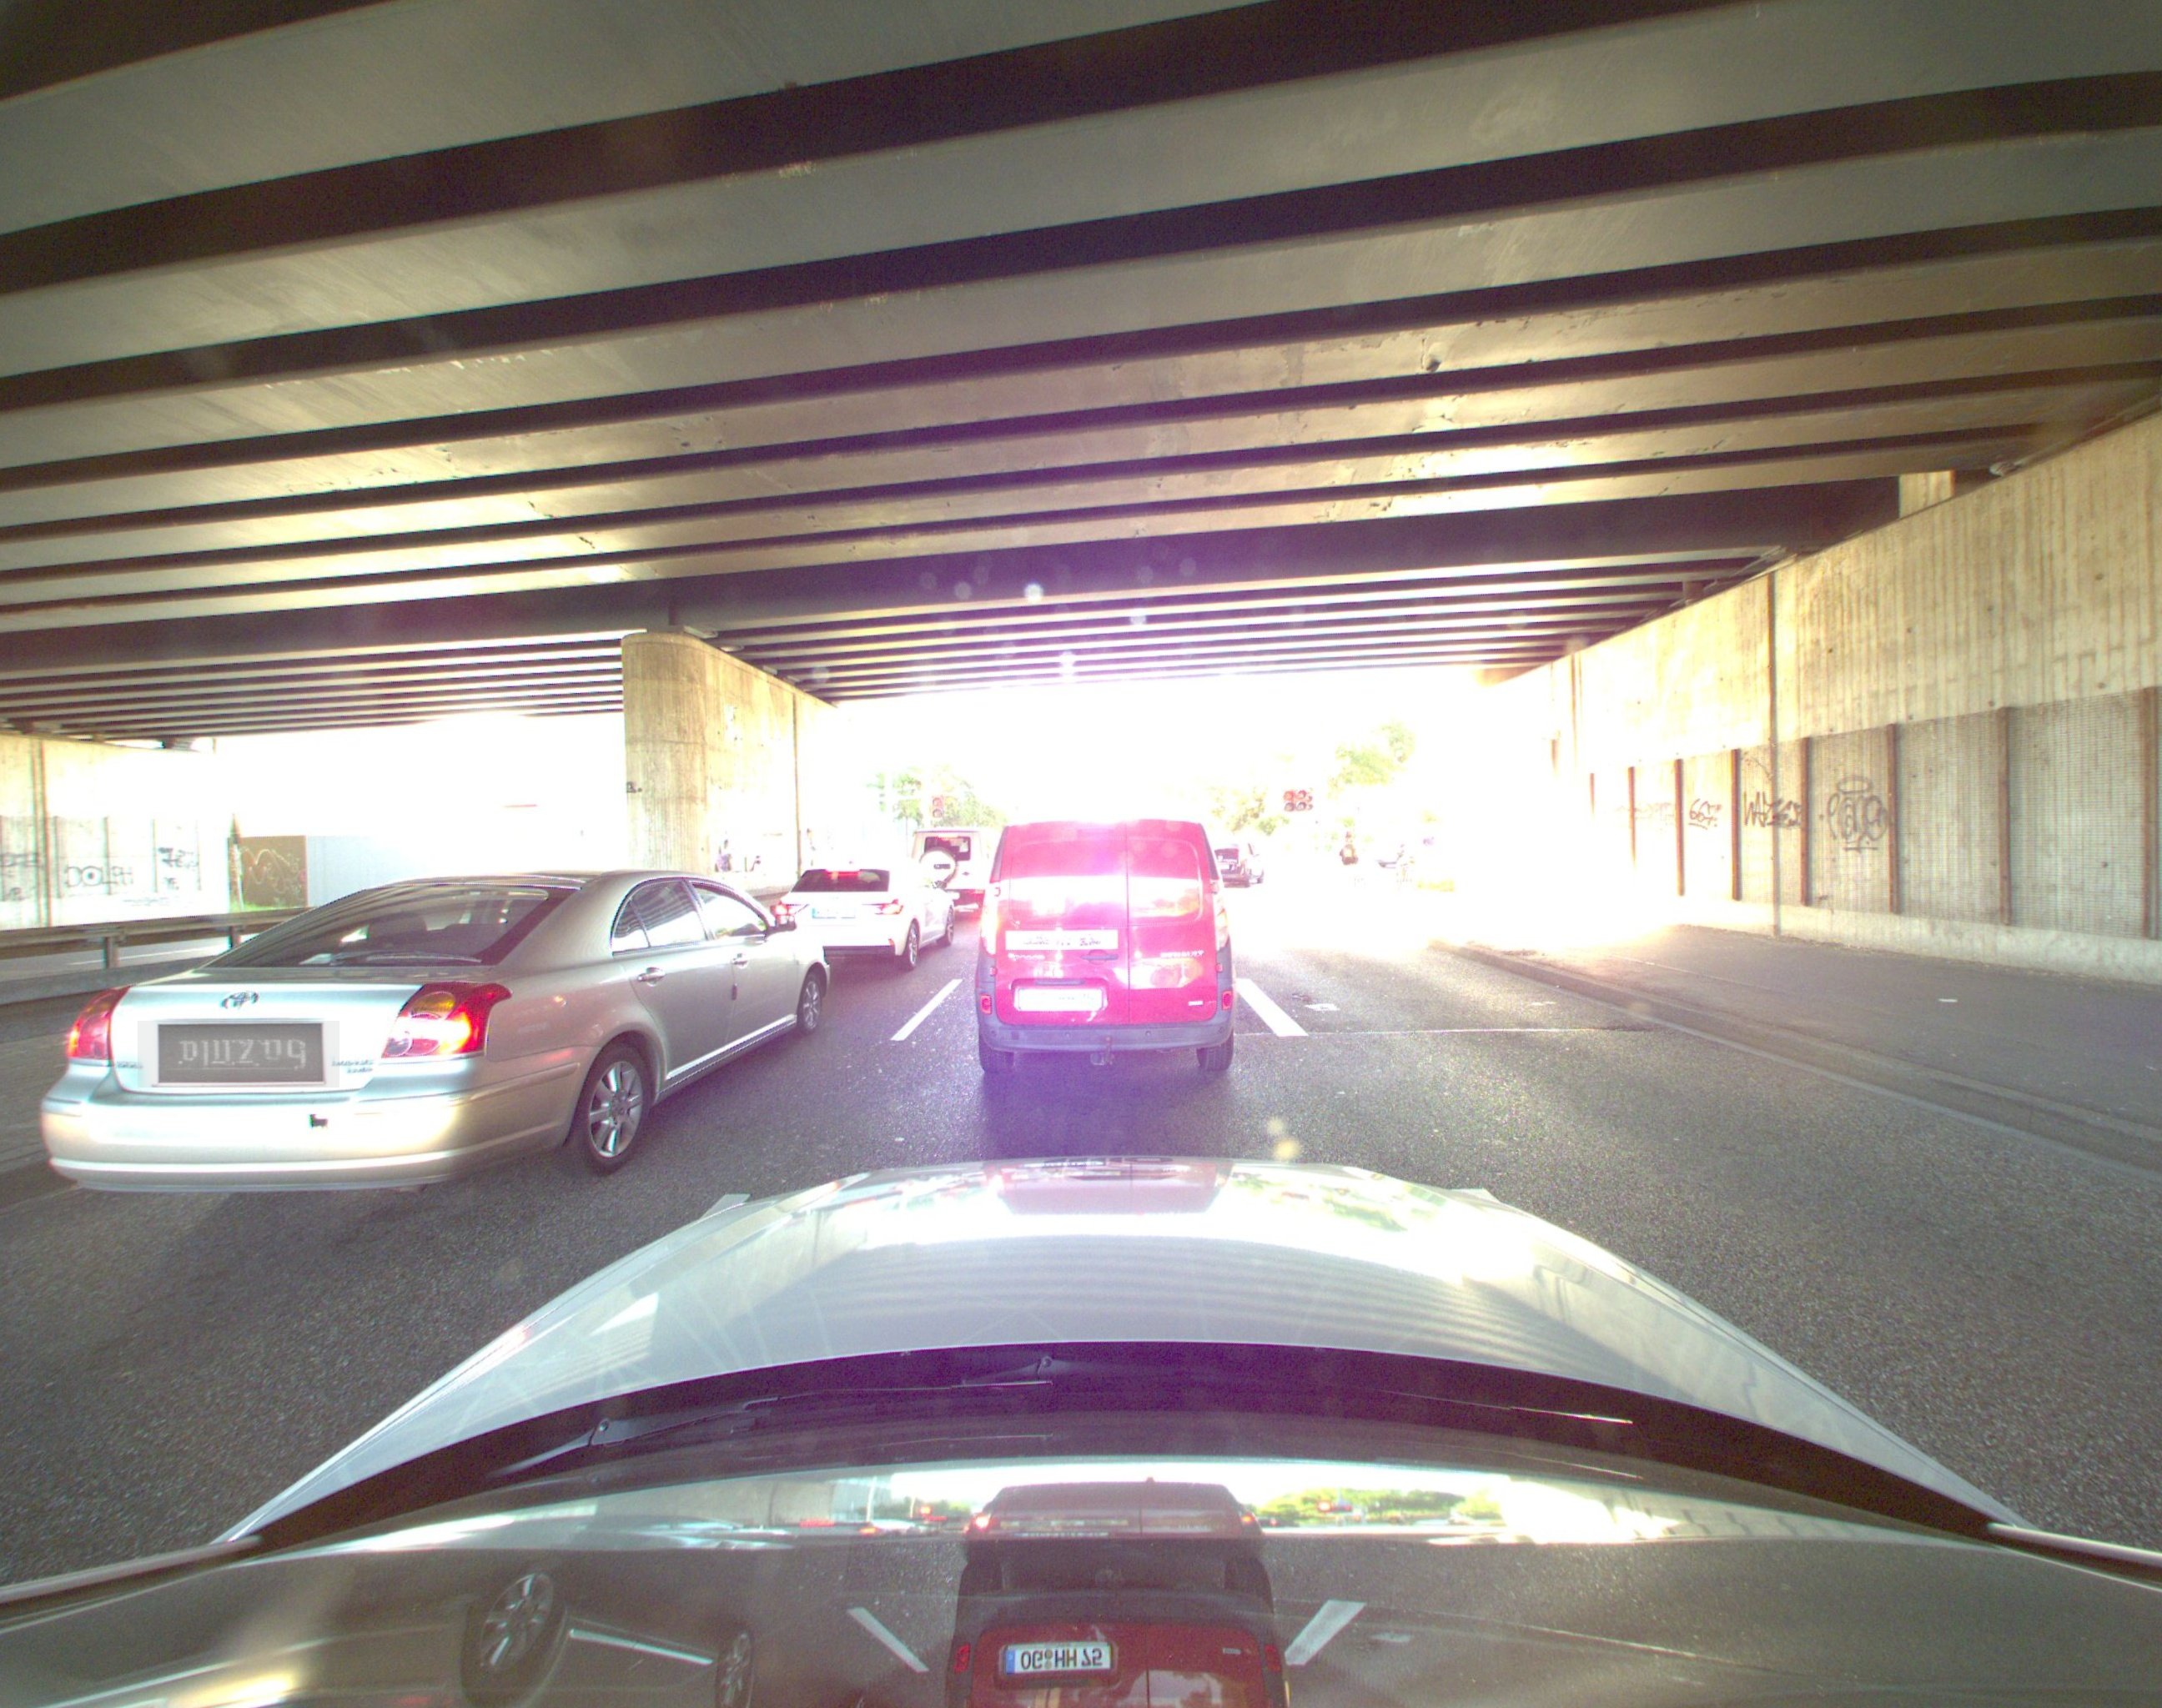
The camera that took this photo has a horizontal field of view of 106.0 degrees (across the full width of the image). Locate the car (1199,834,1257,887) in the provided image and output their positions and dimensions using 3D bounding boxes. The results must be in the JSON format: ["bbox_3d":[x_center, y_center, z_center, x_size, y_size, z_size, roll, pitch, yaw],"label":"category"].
[{"bbox_3d":[5.264,0.220,28.809,1.707,1.706,3.996,-1,0,14],"label":"car"}]

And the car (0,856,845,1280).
[{"bbox_3d":[-3.006,0.775,5.101,1.727,1.480,4.319,-1,0,0],"label":"car"}]

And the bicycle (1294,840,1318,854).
[{"bbox_3d":[17.189,-0.513,62.151,1.734,1.023,0.595,-1,-1,10],"label":"bicycle"}]

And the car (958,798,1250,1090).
[{"bbox_3d":[0.205,0.571,7.046,1.798,1.794,4.001,0,-1,2],"label":"car"}]

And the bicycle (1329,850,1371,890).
[{"bbox_3d":[7.158,0.417,21.729,0.589,1.023,1.751,0,-1,2],"label":"bicycle"}]

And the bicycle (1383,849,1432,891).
[{"bbox_3d":[8.243,0.400,20.622,0.589,1.023,1.751,0,-1,2],"label":"bicycle"}]

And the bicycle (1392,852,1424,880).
[{"bbox_3d":[12.364,0.435,30.843,0.667,1.023,2.061,-1,-1,10],"label":"bicycle"}]

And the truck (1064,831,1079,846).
[{"bbox_3d":[-1.940,-3.206,170.128,2.399,3.026,6.661,-4,0,3],"label":"truck"}]

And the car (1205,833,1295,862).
[{"bbox_3d":[9.324,-0.355,45.039,4.541,1.514,1.825,0,-1,-6],"label":"car"}]

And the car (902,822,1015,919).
[{"bbox_3d":[-2.710,0.358,19.037,1.794,1.989,4.591,0,-1,2],"label":"car"}]

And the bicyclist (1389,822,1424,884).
[{"bbox_3d":[8.229,-0.018,20.621,0.589,1.548,0.769,0,-1,1],"label":"bicyclist"}]

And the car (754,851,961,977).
[{"bbox_3d":[-2.949,0.717,11.607,1.807,1.438,3.732,-1,1,1],"label":"car"}]

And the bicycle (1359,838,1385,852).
[{"bbox_3d":[21.291,-0.644,59.605,1.733,1.023,0.596,-1,-1,13],"label":"bicycle"}]

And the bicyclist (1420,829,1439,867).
[{"bbox_3d":[13.730,-0.236,32.114,0.644,1.480,0.621,-1,1,20],"label":"bicyclist"}]

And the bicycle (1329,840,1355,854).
[{"bbox_3d":[19.425,-0.543,60.634,1.734,1.023,0.595,-1,-1,10],"label":"bicycle"}]

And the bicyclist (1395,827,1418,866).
[{"bbox_3d":[12.364,-0.277,30.944,0.661,1.474,0.753,-1,-1,8],"label":"bicyclist"}]

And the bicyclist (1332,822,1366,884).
[{"bbox_3d":[7.139,-0.034,21.730,0.589,1.613,0.943,0,-1,2],"label":"bicyclist"}]

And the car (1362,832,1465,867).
[{"bbox_3d":[15.763,-0.212,38.662,4.180,1.543,1.880,-1,0,-11],"label":"car"}]

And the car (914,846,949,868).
[{"bbox_3d":[-13.194,0.251,72.130,1.817,1.737,4.634,-4,0,4],"label":"car"}]
